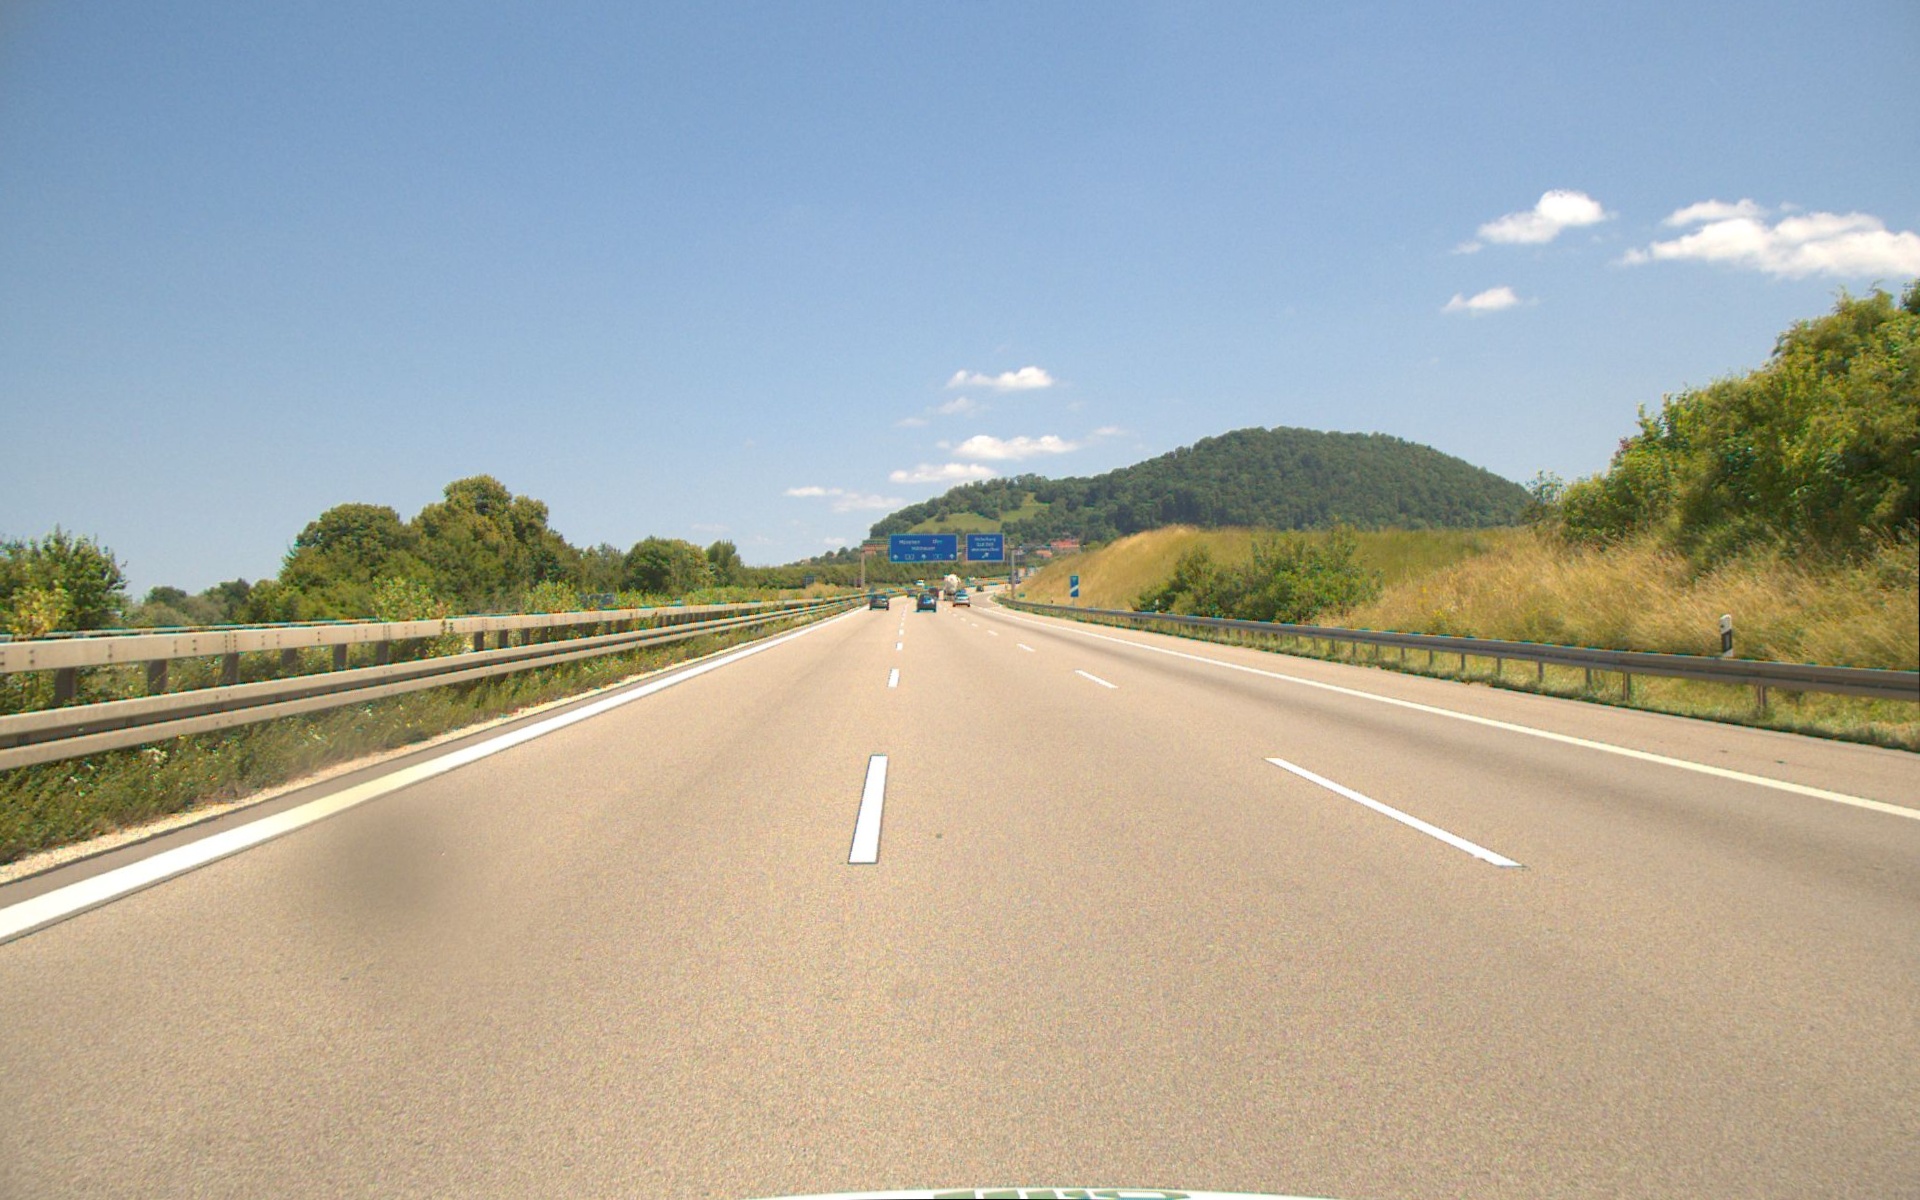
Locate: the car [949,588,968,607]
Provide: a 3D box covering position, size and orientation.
[{"bbox_3d":[-0.171,-0.281,172.083,1.953,1.850,3.999,-1,0,-1],"label":"car"}]

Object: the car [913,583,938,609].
[{"bbox_3d":[-2.809,-0.296,134.856,1.953,2.049,3.999,1,-1,-1],"label":"car"}]

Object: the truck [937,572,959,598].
[{"bbox_3d":[-1.865,-2.244,249.287,3.260,3.755,7.600,1,-1,-1],"label":"truck"}]

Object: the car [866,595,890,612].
[{"bbox_3d":[-7.012,0.320,142.306,1.953,1.413,3.999,1,-1,-1],"label":"car"}]
